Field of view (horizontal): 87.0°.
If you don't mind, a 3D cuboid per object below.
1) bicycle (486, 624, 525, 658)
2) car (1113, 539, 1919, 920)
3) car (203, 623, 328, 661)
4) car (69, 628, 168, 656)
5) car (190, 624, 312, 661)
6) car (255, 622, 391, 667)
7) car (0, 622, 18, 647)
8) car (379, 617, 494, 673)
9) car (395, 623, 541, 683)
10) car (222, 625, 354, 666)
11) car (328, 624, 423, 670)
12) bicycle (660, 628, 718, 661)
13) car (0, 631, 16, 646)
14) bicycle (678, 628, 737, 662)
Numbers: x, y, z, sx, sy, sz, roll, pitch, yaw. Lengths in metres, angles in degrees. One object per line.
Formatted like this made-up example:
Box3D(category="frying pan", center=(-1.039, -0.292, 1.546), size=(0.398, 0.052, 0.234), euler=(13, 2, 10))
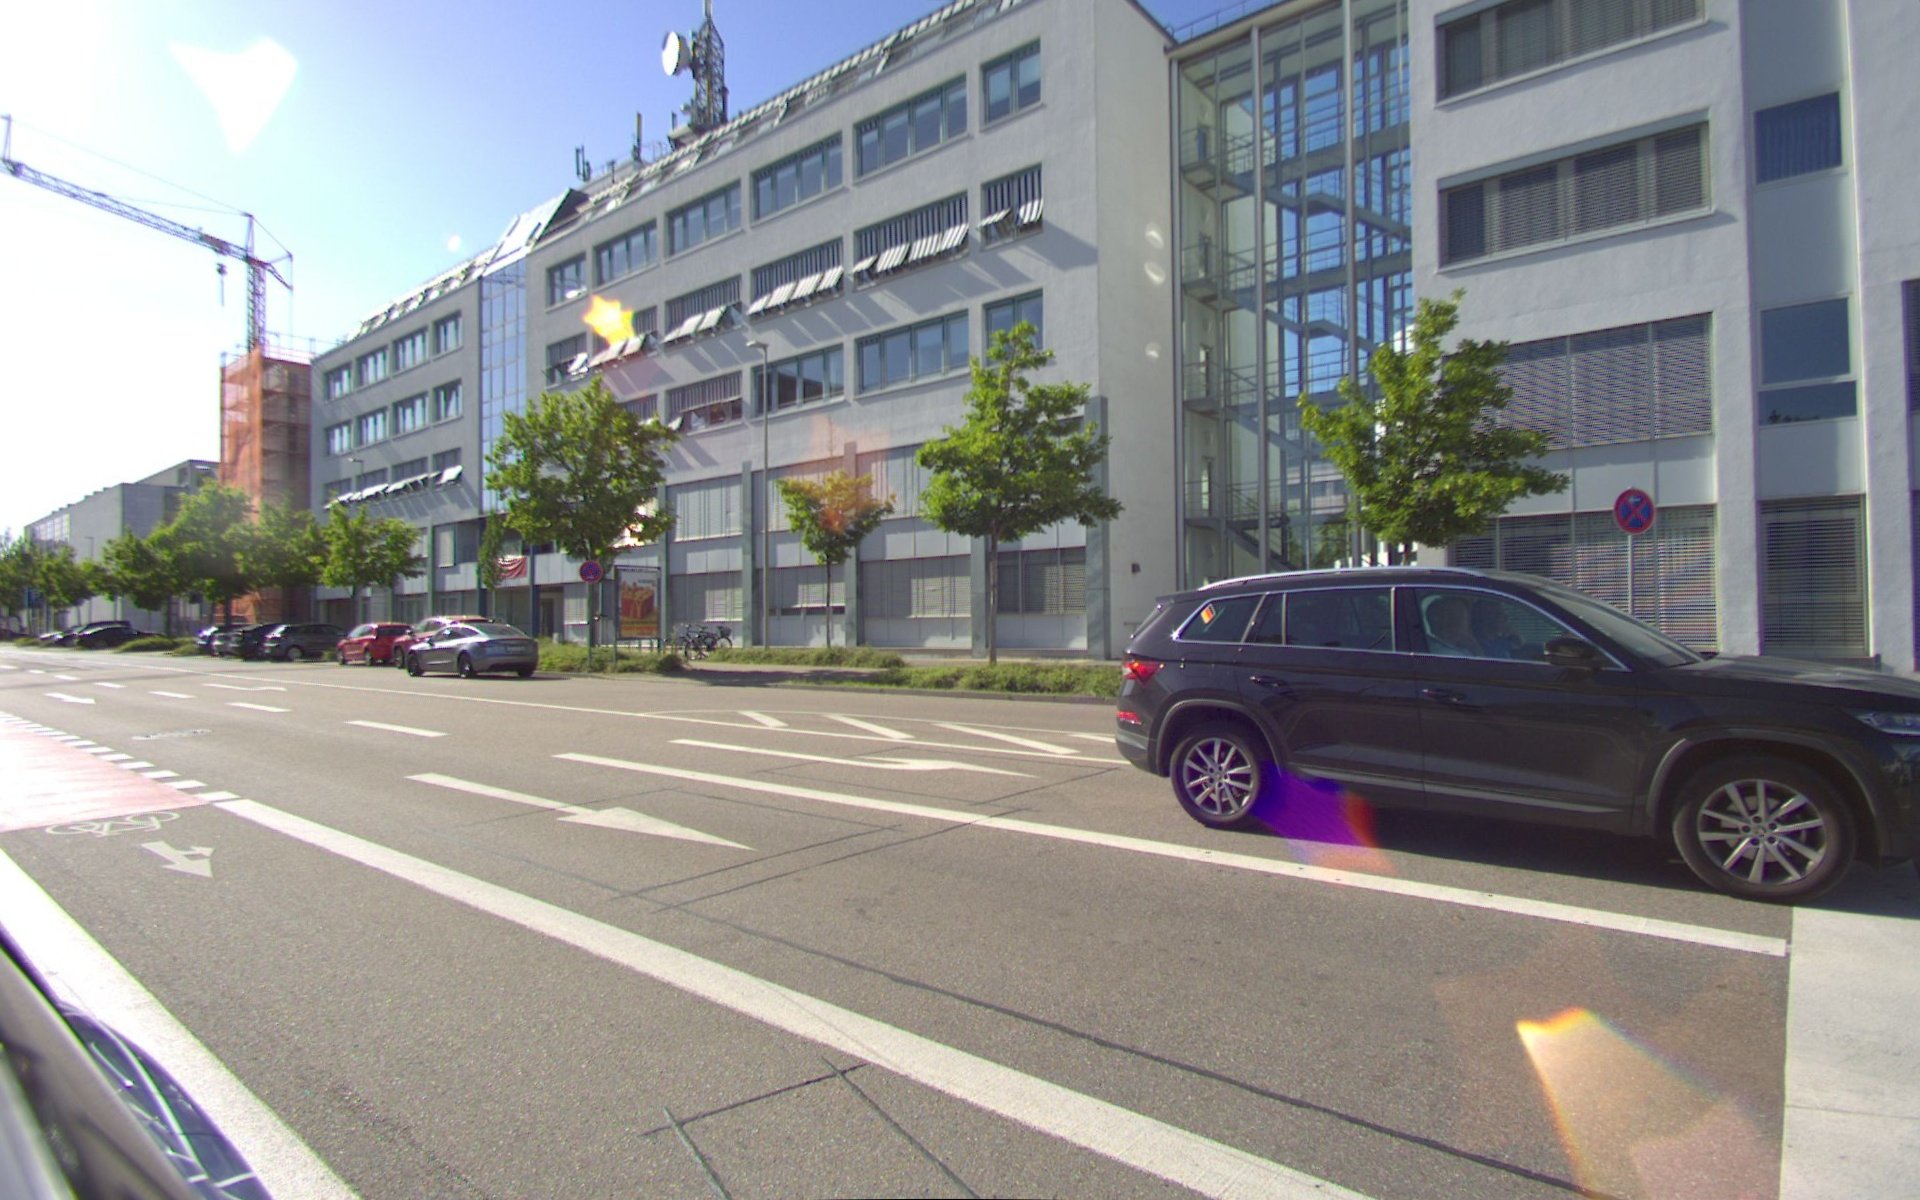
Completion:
Box3D(category="bicycle", center=(-18.734, 1.673, 41.700), size=(0.701, 1.357, 2.234), euler=(2, -3, -44))
Box3D(category="car", center=(3.331, 0.572, 6.126), size=(4.474, 1.640, 1.736), euler=(-2, 0, 40))
Box3D(category="car", center=(-31.458, 1.874, 45.937), size=(1.691, 1.442, 4.344), euler=(-2, 1, 38))
Box3D(category="car", center=(-51.792, 2.569, 62.344), size=(1.974, 1.442, 4.346), euler=(-2, 1, 36))
Box3D(category="car", center=(-33.026, 1.929, 47.262), size=(1.691, 1.442, 4.345), euler=(-2, 1, 37))
Box3D(category="car", center=(-25.828, 1.767, 41.142), size=(1.690, 1.549, 4.347), euler=(-2, 1, 35))
Box3D(category="car", center=(-101.351, 3.683, 104.661), size=(2.010, 2.501, 5.510), euler=(-2, 1, 42))
Box3D(category="car", center=(-16.905, 1.426, 32.600), size=(4.306, 1.619, 1.672), euler=(-2, 0, 39))
Box3D(category="car", center=(-13.345, 1.396, 27.342), size=(4.539, 1.479, 1.672), euler=(-2, -2, 37))
Box3D(category="car", center=(-28.372, 1.886, 42.845), size=(1.691, 1.442, 4.345), euler=(-2, 1, 37))
Box3D(category="car", center=(-20.656, 1.626, 35.698), size=(3.869, 1.442, 1.671), euler=(-2, 0, 40))
Box3D(category="bicycle", center=(-8.873, 1.452, 33.177), size=(1.746, 1.077, 0.556), euler=(2, -3, -43))
Box3D(category="car", center=(-98.752, 3.975, 102.539), size=(1.692, 1.525, 4.262), euler=(-2, 1, 39))
Box3D(category="bicycle", center=(-8.170, 1.450, 32.812), size=(1.767, 1.077, 0.622), euler=(2, -3, -43))
